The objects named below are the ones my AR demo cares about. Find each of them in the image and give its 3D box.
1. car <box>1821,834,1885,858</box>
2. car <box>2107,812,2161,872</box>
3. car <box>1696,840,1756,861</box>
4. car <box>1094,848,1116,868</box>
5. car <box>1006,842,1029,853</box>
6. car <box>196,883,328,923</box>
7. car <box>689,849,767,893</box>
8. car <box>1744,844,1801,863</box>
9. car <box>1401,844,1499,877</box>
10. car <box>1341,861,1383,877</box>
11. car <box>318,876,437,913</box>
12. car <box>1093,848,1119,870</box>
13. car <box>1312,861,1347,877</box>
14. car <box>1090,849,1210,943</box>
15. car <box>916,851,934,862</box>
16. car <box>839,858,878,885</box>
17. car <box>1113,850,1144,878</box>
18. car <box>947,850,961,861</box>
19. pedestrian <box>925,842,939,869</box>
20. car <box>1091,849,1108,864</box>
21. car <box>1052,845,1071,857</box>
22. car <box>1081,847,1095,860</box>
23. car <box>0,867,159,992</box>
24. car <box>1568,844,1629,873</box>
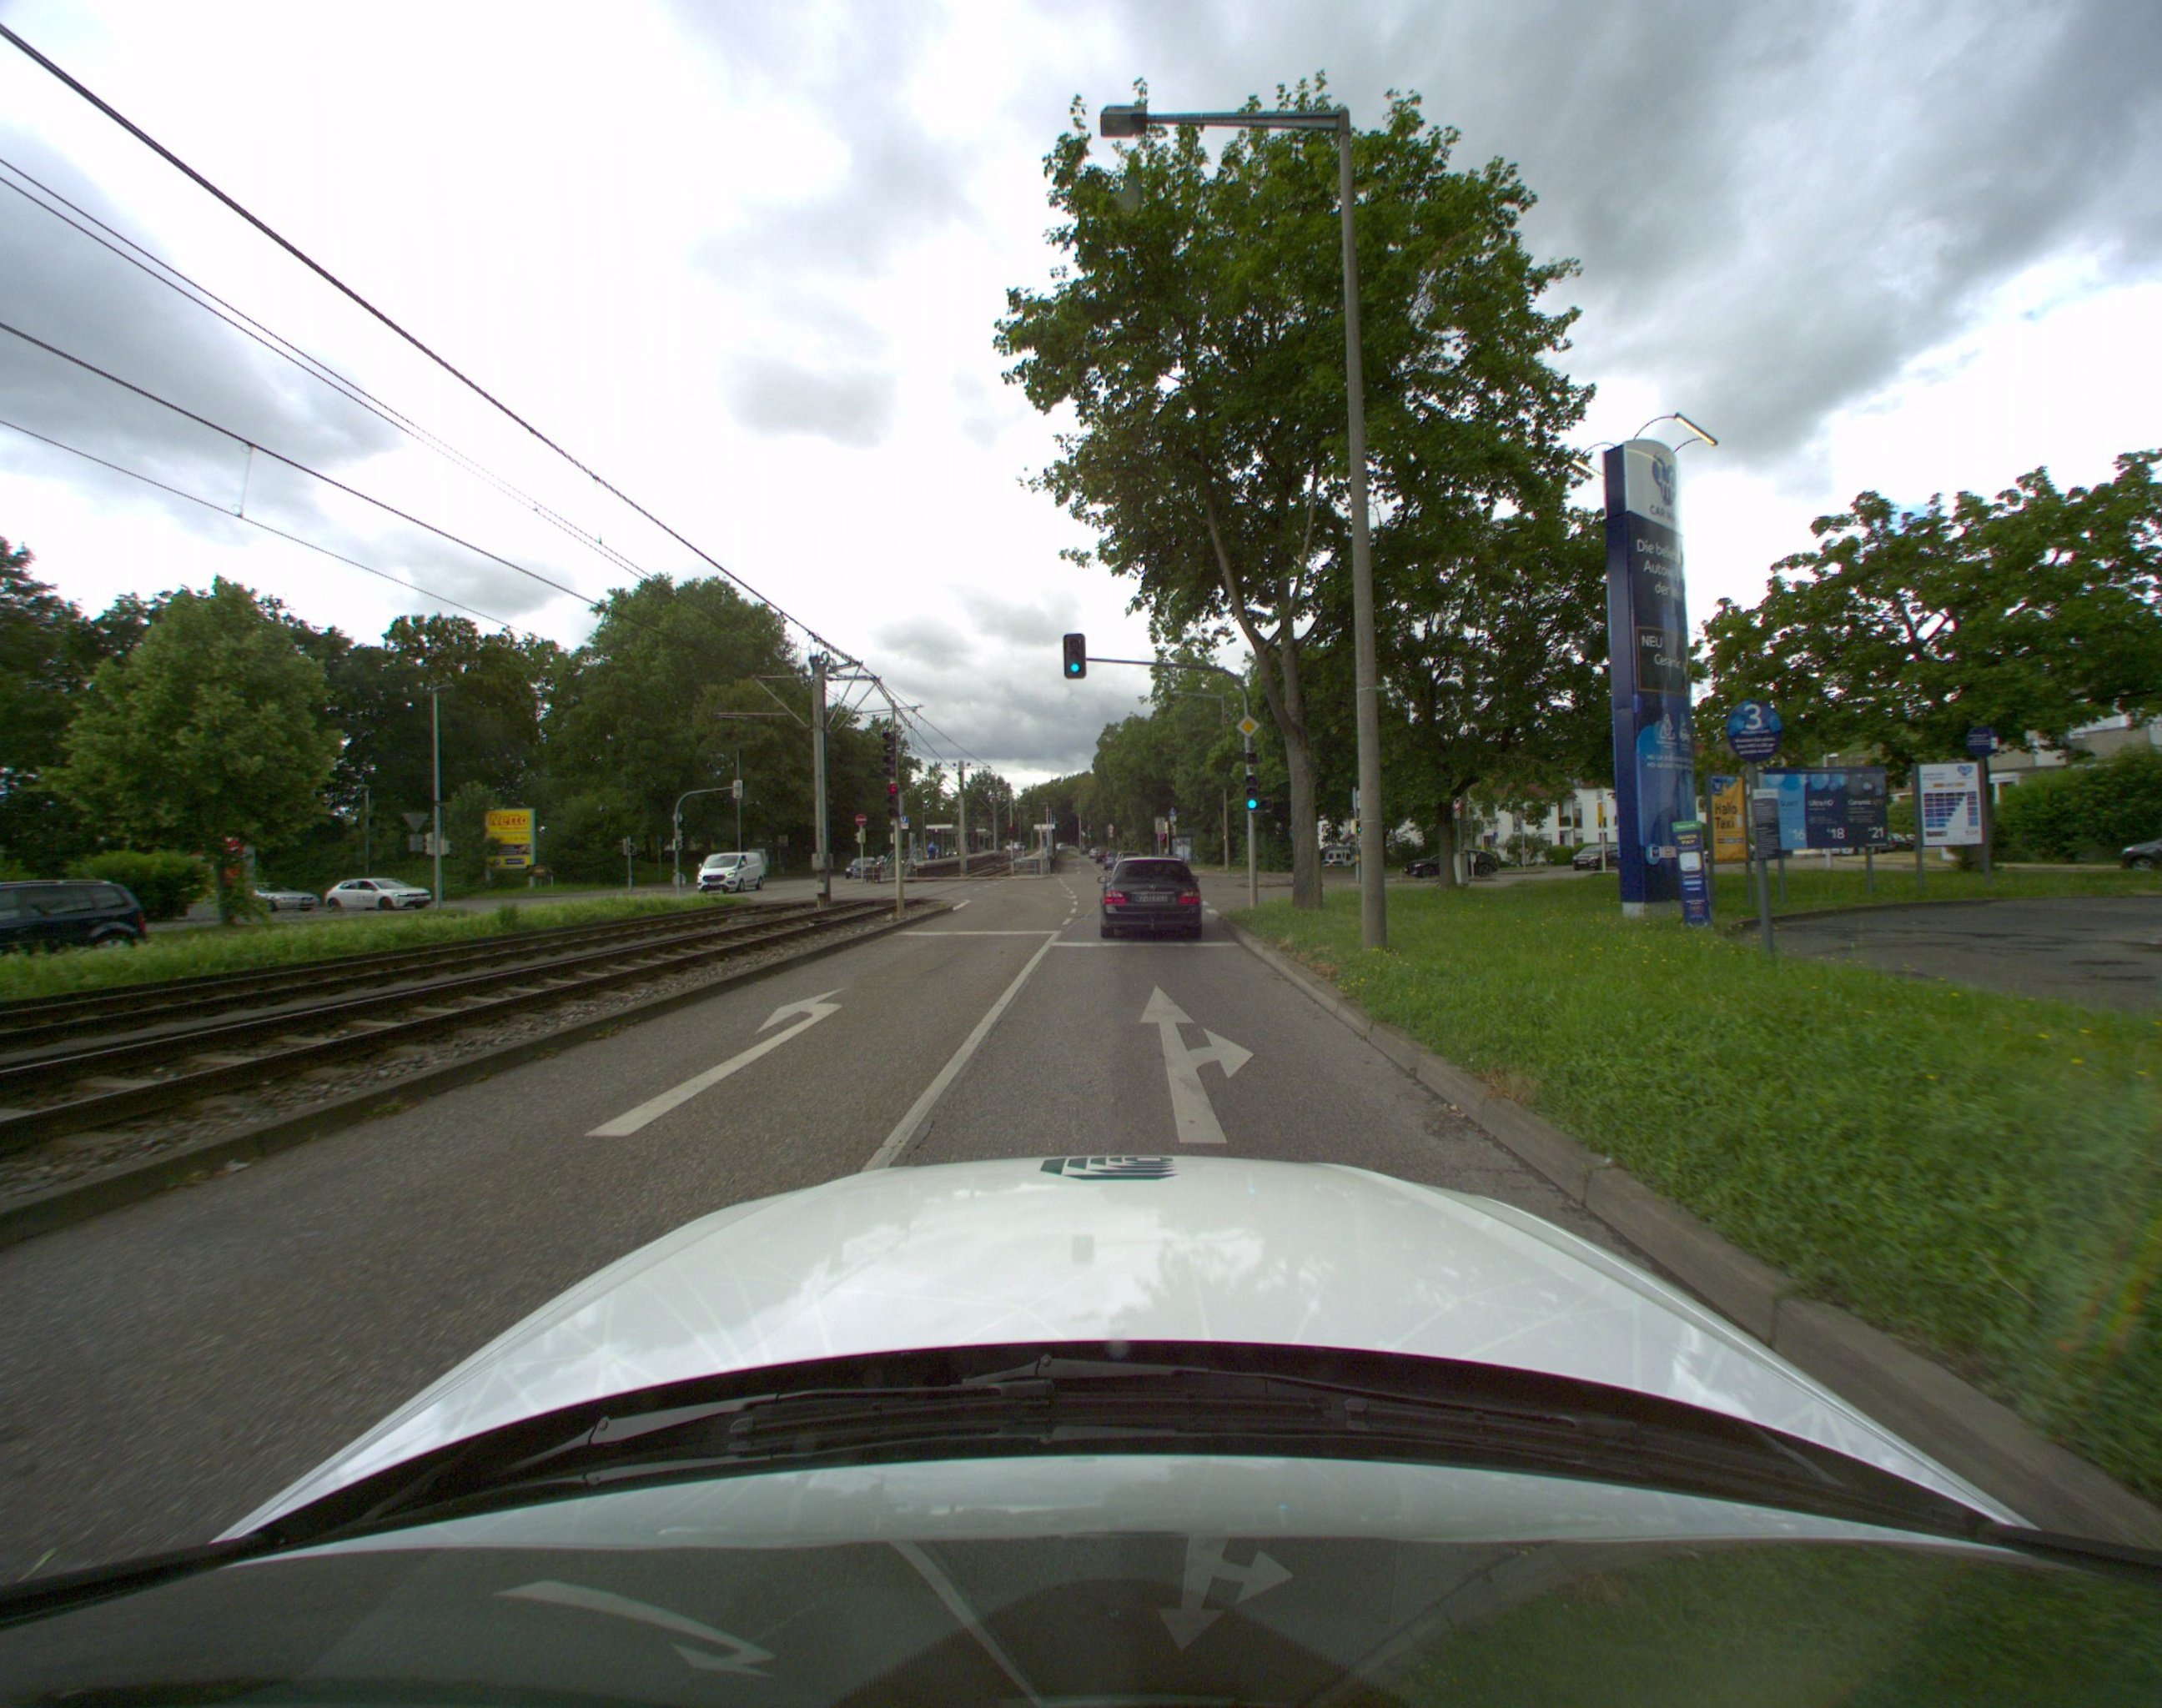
[{"bbox_3d":[50.532,-0.507,53.297,4.012,1.517,1.981,-1,0,-30],"label":"car"},{"bbox_3d":[34.070,-0.380,24.135,1.713,1.842,4.404,1,-1,-2],"label":"car"},{"bbox_3d":[47.173,-0.221,59.558,4.483,1.426,1.980,1,-1,-31],"label":"car"},{"bbox_3d":[2.462,0.435,84.017,1.988,1.918,3.997,1,-1,-2],"label":"car"},{"bbox_3d":[-11.919,-1.279,152.773,3.950,2.014,2.012,0,-1,44],"label":"car"},{"bbox_3d":[-36.887,2.196,36.739,3.975,1.552,1.846,-2,-1,-1],"label":"car"},{"bbox_3d":[-17.627,0.842,40.948,1.990,2.013,4.878,-2,0,-4],"label":"car"},{"bbox_3d":[53.454,-0.025,62.985,4.482,1.426,1.981,1,-1,-30],"label":"car"},{"bbox_3d":[18.481,0.329,40.944,4.130,1.526,1.708,-2,-1,7],"label":"car"},{"bbox_3d":[23.382,1.227,67.864,1.622,1.246,3.842,1,-1,-12],"label":"car"},{"bbox_3d":[-31.233,1.783,36.219,3.857,1.408,1.851,-2,-1,7],"label":"car"},{"bbox_3d":[1.996,0.436,64.109,1.773,1.648,4.005,1,-1,4],"label":"car"},{"bbox_3d":[22.600,1.318,74.224,1.479,1.386,3.825,1,-1,-11],"label":"car"},{"bbox_3d":[1.157,0.675,15.356,1.777,1.525,3.997,0,0,-2],"label":"car"},{"bbox_3d":[-20.782,0.346,108.836,1.681,1.446,3.997,-4,-1,-2],"label":"car"},{"bbox_3d":[-15.770,1.227,57.911,1.692,1.860,3.997,1,-1,-2],"label":"car"},{"bbox_3d":[2.906,0.602,49.138,1.773,1.648,4.005,1,-1,4],"label":"car"},{"bbox_3d":[-20.888,0.308,133.950,1.705,1.751,4.397,-2,-1,-1],"label":"car"},{"bbox_3d":[-12.293,0.134,67.205,0.966,2.186,0.976,-1,0,0],"label":"pedestrian"},{"bbox_3d":[2.318,0.369,105.235,1.988,1.893,3.997,1,-1,-2],"label":"car"},{"bbox_3d":[-3.433,-0.565,142.010,2.001,2.014,3.972,1,-1,-21],"label":"car"},{"bbox_3d":[1.092,-0.105,124.856,1.988,1.966,3.997,1,-1,-2],"label":"car"},{"bbox_3d":[-18.542,1.259,13.442,1.989,2.014,4.103,-2,-1,-2],"label":"car"},{"bbox_3d":[33.696,0.301,52.998,4.016,1.766,1.979,1,-1,-35],"label":"car"}]
